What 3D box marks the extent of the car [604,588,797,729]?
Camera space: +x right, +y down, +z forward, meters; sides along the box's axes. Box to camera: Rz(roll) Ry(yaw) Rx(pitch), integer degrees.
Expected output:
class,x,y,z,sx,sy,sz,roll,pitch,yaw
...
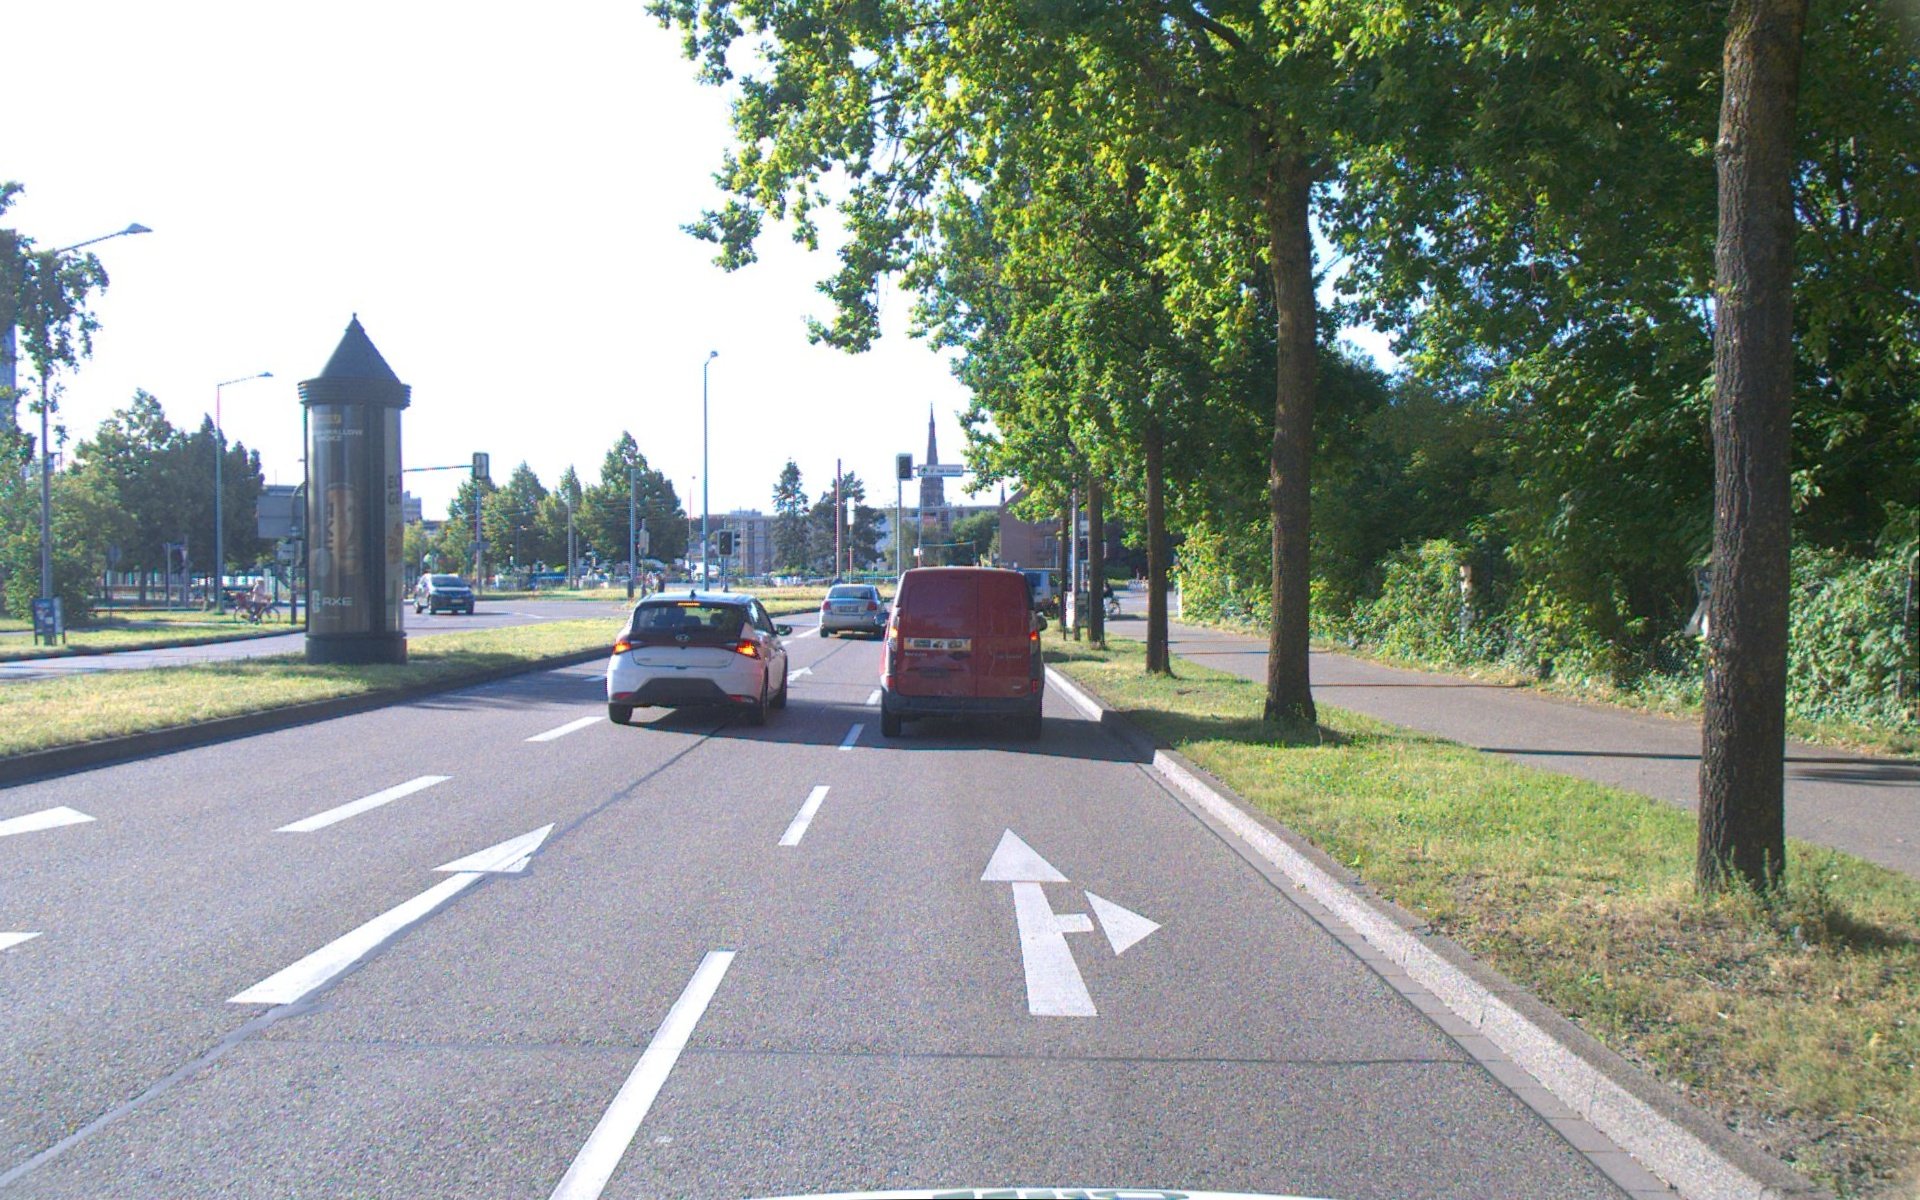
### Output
class,x,y,z,sx,sy,sz,roll,pitch,yaw
car,-2.978,0.618,19.729,1.742,1.433,4.074,1,1,-1

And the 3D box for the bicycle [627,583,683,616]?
class,x,y,z,sx,sy,sz,roll,pitch,yaw
bicycle,-11.069,-0.030,60.011,1.919,1.186,0.517,0,0,-2

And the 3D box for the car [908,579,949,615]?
class,x,y,z,sx,sy,sz,roll,pitch,yaw
car,-1.301,-0.128,68.284,1.627,1.422,3.558,0,1,-1

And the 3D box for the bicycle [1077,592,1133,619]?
class,x,y,z,sx,sy,sz,roll,pitch,yaw
bicycle,5.508,0.201,62.948,2.100,0.975,0.780,-1,0,-33

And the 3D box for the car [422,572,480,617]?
class,x,y,z,sx,sy,sz,roll,pitch,yaw
car,-22.441,-0.243,72.856,1.617,1.909,3.960,-1,0,-30

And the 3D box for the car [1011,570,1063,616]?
class,x,y,z,sx,sy,sz,roll,pitch,yaw
car,3.102,-0.274,66.165,1.624,1.792,3.501,0,0,11

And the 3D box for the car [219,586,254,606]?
class,x,y,z,sx,sy,sz,roll,pitch,yaw
car,-66.234,-0.370,151.390,1.806,1.735,3.941,1,0,-41

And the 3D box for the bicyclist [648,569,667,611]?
class,x,y,z,sx,sy,sz,roll,pitch,yaw
bicyclist,-10.975,-0.367,60.013,0.591,1.494,0.517,0,0,-2

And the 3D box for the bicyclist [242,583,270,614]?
class,x,y,z,sx,sy,sz,roll,pitch,yaw
bicyclist,-25.480,-0.055,59.856,0.719,1.126,0.605,0,0,12

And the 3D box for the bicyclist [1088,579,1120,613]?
class,x,y,z,sx,sy,sz,roll,pitch,yaw
bicyclist,5.469,-0.167,62.916,0.959,1.271,0.780,-1,0,-33

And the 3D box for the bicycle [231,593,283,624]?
class,x,y,z,sx,sy,sz,roll,pitch,yaw
bicycle,-25.431,0.311,59.849,1.690,1.126,0.605,0,0,12

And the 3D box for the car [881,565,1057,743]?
class,x,y,z,sx,sy,sz,roll,pitch,yaw
car,0.059,0.520,18.894,1.769,1.790,4.005,1,1,-1

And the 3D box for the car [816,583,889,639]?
class,x,y,z,sx,sy,sz,roll,pitch,yaw
car,-3.012,0.278,47.059,1.803,1.482,4.162,1,1,0
